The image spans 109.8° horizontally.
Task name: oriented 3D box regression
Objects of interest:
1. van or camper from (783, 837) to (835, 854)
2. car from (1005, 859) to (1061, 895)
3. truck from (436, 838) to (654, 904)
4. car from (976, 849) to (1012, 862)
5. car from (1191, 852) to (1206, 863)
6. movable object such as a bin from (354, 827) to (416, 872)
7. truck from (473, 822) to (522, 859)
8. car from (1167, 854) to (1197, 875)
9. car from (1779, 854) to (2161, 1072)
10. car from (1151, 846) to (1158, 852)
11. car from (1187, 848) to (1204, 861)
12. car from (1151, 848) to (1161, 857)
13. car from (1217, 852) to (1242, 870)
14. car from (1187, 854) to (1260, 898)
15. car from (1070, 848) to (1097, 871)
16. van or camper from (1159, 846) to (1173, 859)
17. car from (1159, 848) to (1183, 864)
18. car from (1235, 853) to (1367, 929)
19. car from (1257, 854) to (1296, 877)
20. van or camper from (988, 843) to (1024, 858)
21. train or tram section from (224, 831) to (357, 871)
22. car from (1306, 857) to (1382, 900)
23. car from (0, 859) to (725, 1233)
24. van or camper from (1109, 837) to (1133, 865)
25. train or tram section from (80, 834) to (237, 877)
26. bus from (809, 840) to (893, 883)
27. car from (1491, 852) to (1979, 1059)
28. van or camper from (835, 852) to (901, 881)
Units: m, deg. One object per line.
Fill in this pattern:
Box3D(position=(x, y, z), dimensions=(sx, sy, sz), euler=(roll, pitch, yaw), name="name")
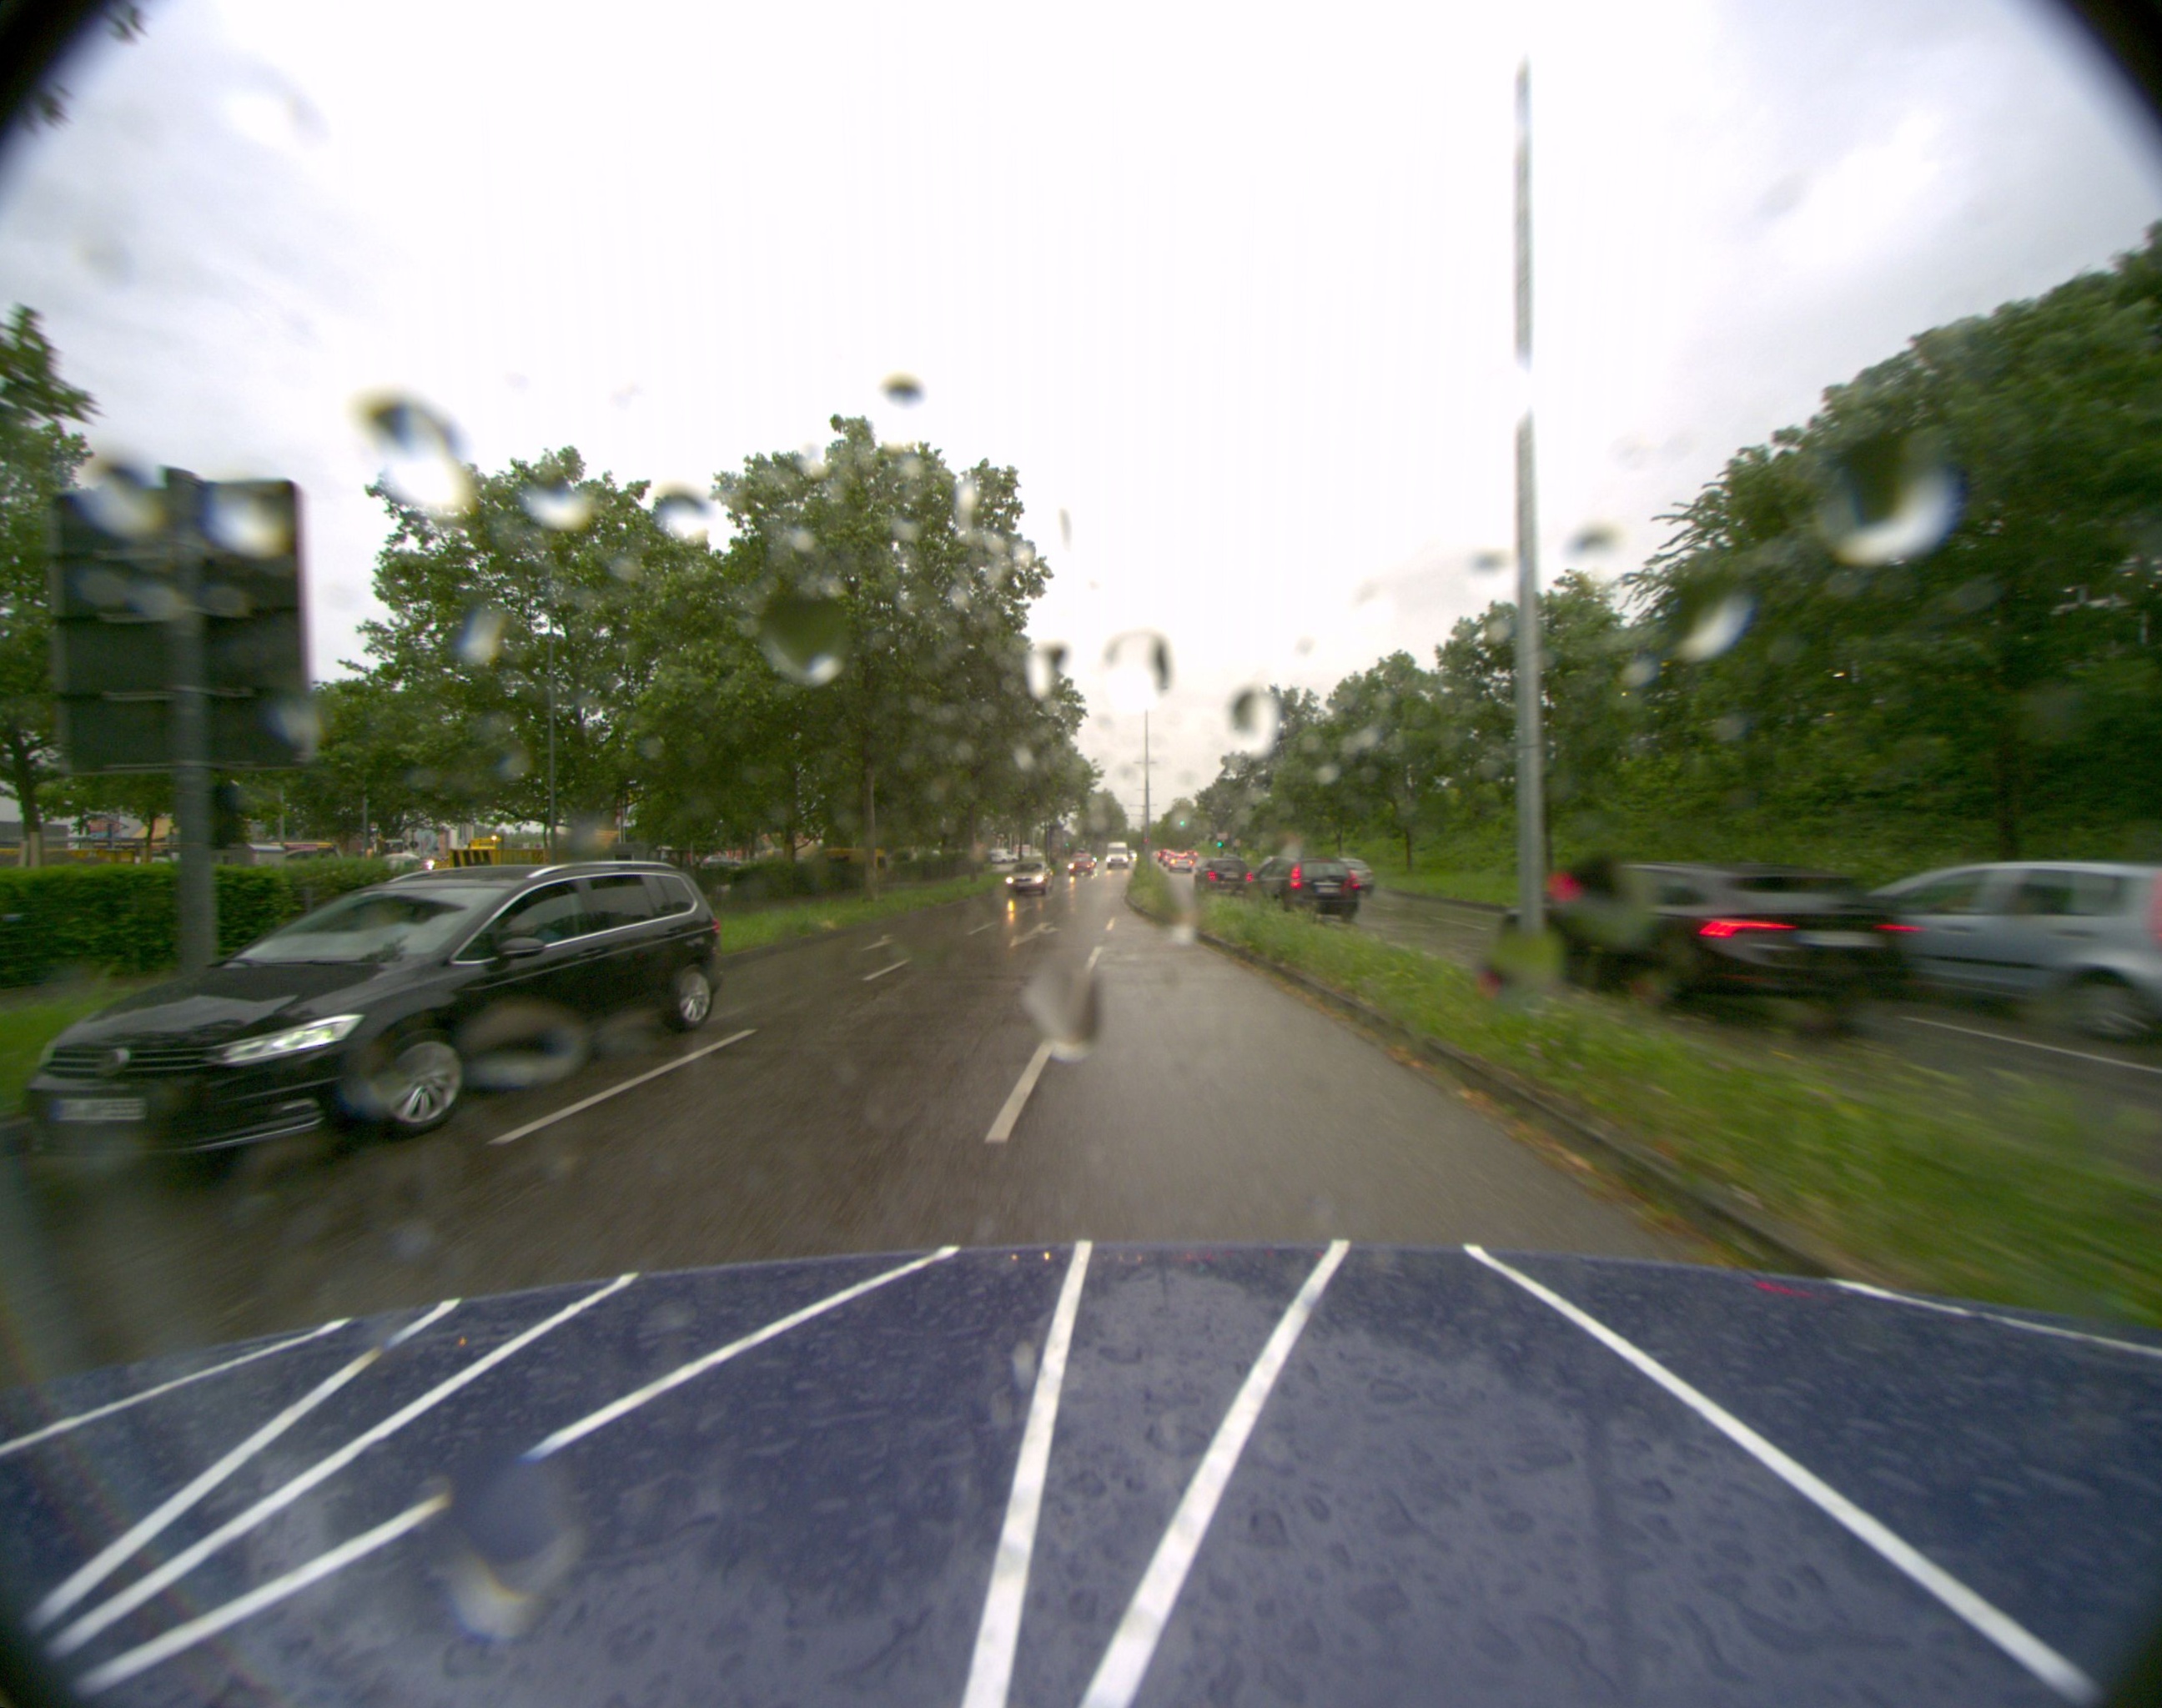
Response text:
Box3D(position=(-53.597, -1.701, 149.743), dimensions=(8.993, 3.140, 2.980), euler=(-3, 2, -31), name="van or camper")
Box3D(position=(-2.097, 0.996, 34.427), dimensions=(1.806, 1.422, 4.388), euler=(-1, 1, 5), name="car")
Box3D(position=(-29.384, 0.811, 42.389), dimensions=(9.515, 3.015, 3.074), euler=(-3, 2, -31), name="truck")
Box3D(position=(-11.951, 0.198, 104.246), dimensions=(4.469, 1.663, 1.863), euler=(-1, 1, -34), name="car")
Box3D(position=(19.053, 0.514, 123.262), dimensions=(1.998, 1.678, 4.710), euler=(1, 0, 5), name="car")
Box3D(position=(-58.394, -0.395, 63.748), dimensions=(3.602, 3.605, 3.326), euler=(0, 1, 40), name="movable object such as a bin")
Box3D(position=(-57.277, -1.279, 74.729), dimensions=(2.500, 3.326, 9.446), euler=(-3, 2, -30), name="truck")
Box3D(position=(8.008, 0.784, 60.726), dimensions=(1.913, 1.565, 4.709), euler=(1, 0, 2), name="car")
Box3D(position=(9.271, 0.832, 7.376), dimensions=(1.699, 1.608, 3.849), euler=(-1, 0, 6), name="car")
Box3D(position=(19.677, -1.348, 202.427), dimensions=(1.780, 1.552, 3.774), euler=(-2, 1, 5), name="car")
Box3D(position=(15.028, 0.068, 99.966), dimensions=(1.998, 1.678, 4.710), euler=(1, 0, 5), name="car")
Box3D(position=(15.367, -0.305, 156.280), dimensions=(1.998, 1.678, 4.710), euler=(1, 0, 5), name="car")
Box3D(position=(14.930, 0.677, 76.739), dimensions=(1.998, 1.678, 4.710), euler=(1, 0, 5), name="car")
Box3D(position=(5.563, 0.802, 30.227), dimensions=(1.913, 1.565, 4.708), euler=(1, 1, -1), name="car")
Box3D(position=(0.253, 0.407, 60.370), dimensions=(1.699, 1.759, 4.559), euler=(-1, 0, 6), name="car")
Box3D(position=(11.293, -0.200, 101.125), dimensions=(1.732, 1.732, 4.001), euler=(1, 1, 4), name="van or camper")
Box3D(position=(9.318, 0.177, 78.931), dimensions=(1.903, 1.604, 4.111), euler=(2, 1, 0), name="car")
Box3D(position=(5.275, 0.815, 18.880), dimensions=(1.829, 1.566, 4.358), euler=(1, 1, -2), name="car")
Box3D(position=(13.101, 0.741, 51.184), dimensions=(1.839, 1.493, 4.441), euler=(1, 0, 5), name="car")
Box3D(position=(-10.761, -0.519, 108.911), dimensions=(4.917, 2.076, 1.863), euler=(-1, 1, -34), name="van or camper")
Box3D(position=(-76.113, -0.368, 73.440), dimensions=(8.384, 3.500, 2.394), euler=(-3, 2, -34), name="train or tram section")
Box3D(position=(10.983, 0.974, 32.105), dimensions=(1.912, 1.565, 4.710), euler=(2, 1, 5), name="car")
Box3D(position=(-4.766, 0.961, 5.765), dimensions=(1.860, 1.716, 4.191), euler=(-2, 1, 4), name="car")
Box3D(position=(4.006, -0.297, 75.005), dimensions=(2.099, 2.579, 4.777), euler=(-2, 0, 6), name="van or camper")
Box3D(position=(-83.142, 0.051, 68.753), dimensions=(8.544, 3.500, 2.394), euler=(-3, 2, -34), name="train or tram section")
Box3D(position=(-15.099, 0.497, 50.039), dimensions=(4.802, 2.632, 2.001), euler=(-1, 1, 6), name="bus")
Box3D(position=(6.341, 0.794, 8.199), dimensions=(1.724, 1.608, 4.347), euler=(0, 1, 4), name="car")
Box3D(position=(-14.713, 0.848, 52.588), dimensions=(3.997, 1.896, 1.802), euler=(-2, 1, 1), name="van or camper")
